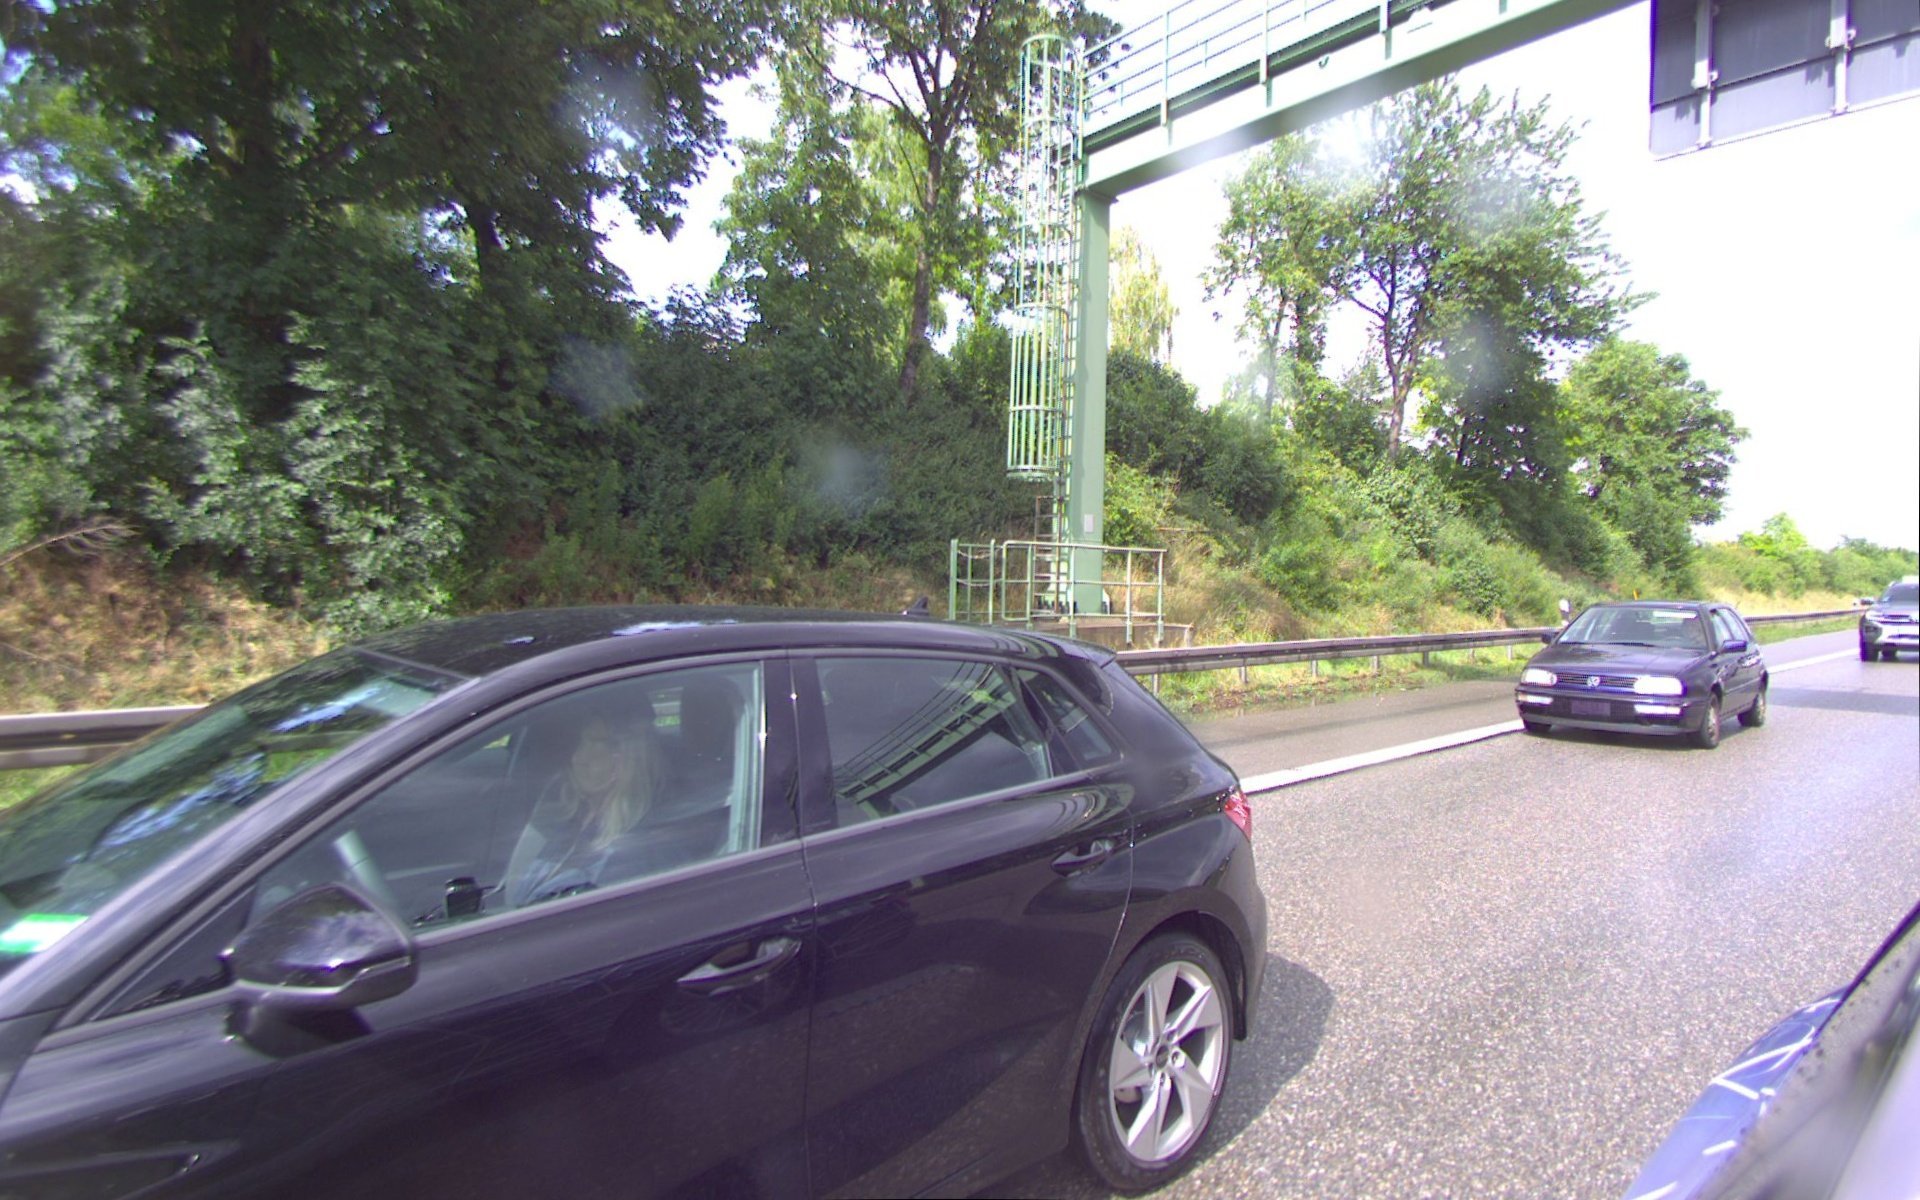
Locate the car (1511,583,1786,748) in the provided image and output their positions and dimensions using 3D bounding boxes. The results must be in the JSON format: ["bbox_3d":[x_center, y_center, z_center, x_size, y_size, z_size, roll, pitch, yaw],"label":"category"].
[{"bbox_3d":[7.519,0.560,10.932,3.681,1.474,1.653,-1,1,-42],"label":"car"}]

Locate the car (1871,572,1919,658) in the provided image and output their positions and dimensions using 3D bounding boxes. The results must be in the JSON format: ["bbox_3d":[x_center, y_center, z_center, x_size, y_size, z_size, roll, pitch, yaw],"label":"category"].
[{"bbox_3d":[22.543,0.308,23.215,5.213,1.826,1.830,0,1,-41],"label":"car"}]

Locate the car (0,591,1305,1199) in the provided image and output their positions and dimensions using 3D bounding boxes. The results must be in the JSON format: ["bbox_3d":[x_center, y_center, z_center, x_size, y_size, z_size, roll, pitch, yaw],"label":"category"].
[{"bbox_3d":[-1.220,0.699,2.071,4.292,1.414,1.758,-1,1,-41],"label":"car"}]
